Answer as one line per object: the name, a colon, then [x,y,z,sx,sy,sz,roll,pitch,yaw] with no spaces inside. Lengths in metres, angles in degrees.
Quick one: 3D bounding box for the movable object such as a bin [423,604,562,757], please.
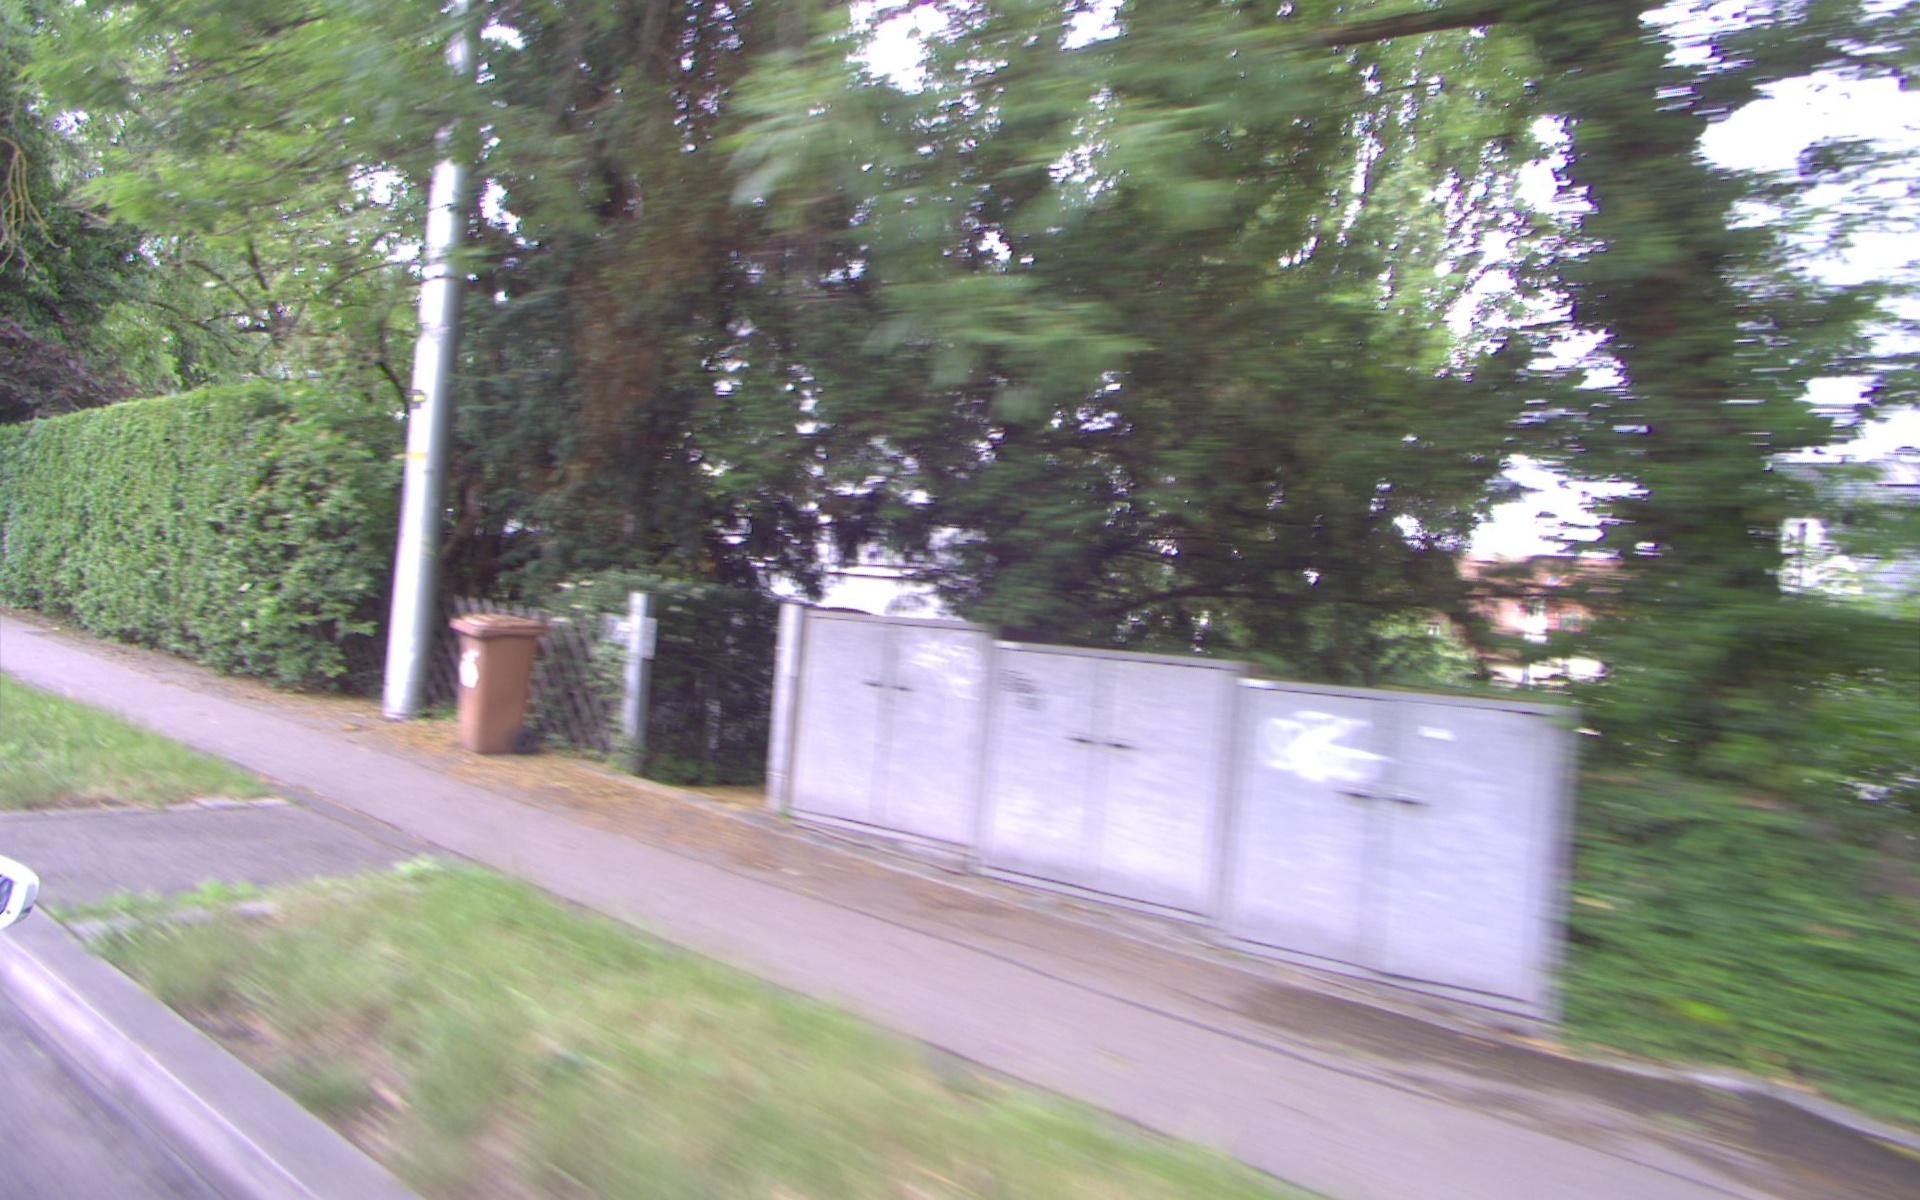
movable object such as a bin: [-3.253,0.558,7.019,0.558,0.958,0.556,7,-1,29]
